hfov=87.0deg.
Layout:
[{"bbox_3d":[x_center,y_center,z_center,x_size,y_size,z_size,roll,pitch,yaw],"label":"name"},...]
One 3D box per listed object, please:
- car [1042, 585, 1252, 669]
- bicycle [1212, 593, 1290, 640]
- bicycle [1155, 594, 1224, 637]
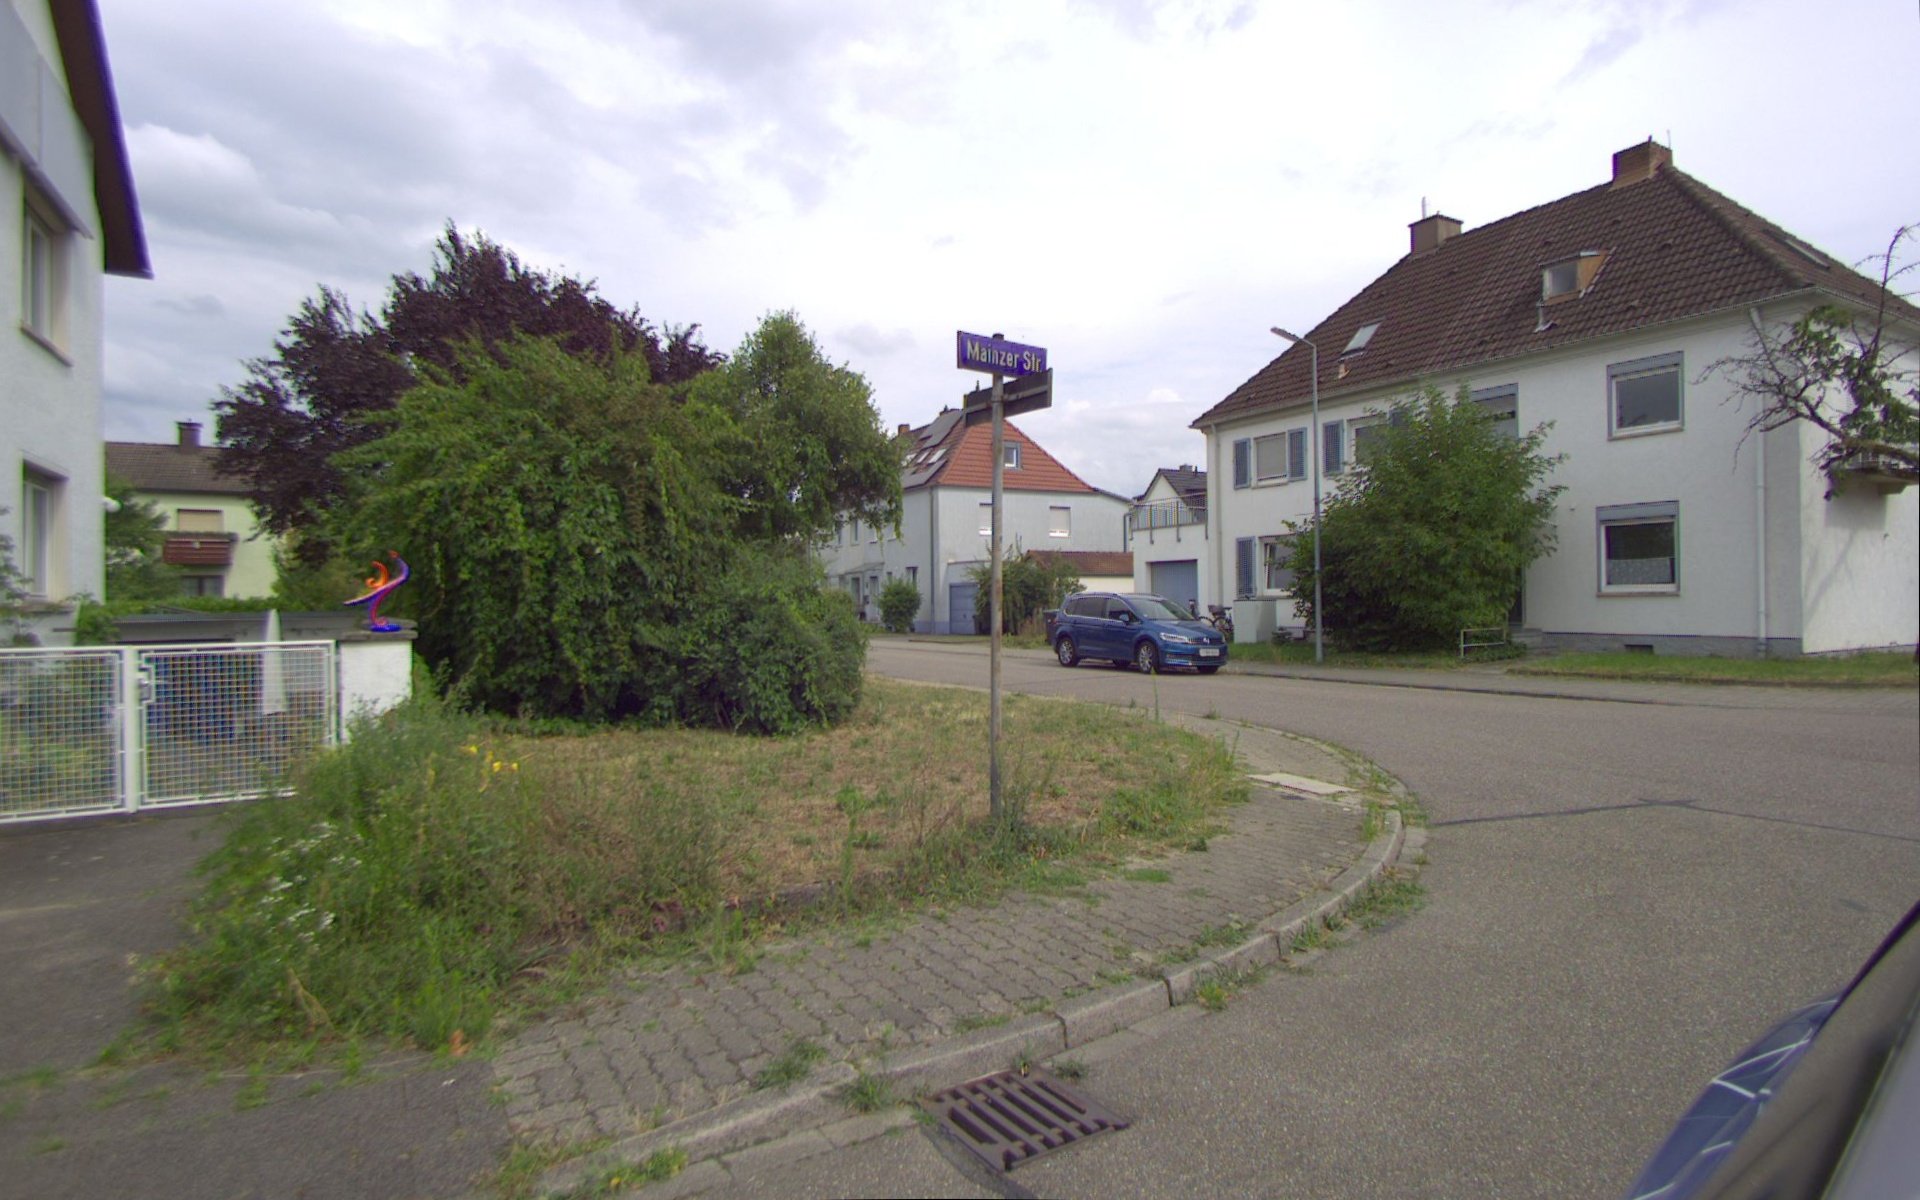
[{"bbox_3d":[3.819,0.525,21.510,1.959,1.590,4.551,1,-1,-29],"label":"car"},{"bbox_3d":[7.534,0.413,26.342,0.561,1.149,2.173,-1,0,-29],"label":"bicycle"},{"bbox_3d":[6.381,0.404,28.275,0.561,1.149,2.173,-1,0,-29],"label":"bicycle"}]
